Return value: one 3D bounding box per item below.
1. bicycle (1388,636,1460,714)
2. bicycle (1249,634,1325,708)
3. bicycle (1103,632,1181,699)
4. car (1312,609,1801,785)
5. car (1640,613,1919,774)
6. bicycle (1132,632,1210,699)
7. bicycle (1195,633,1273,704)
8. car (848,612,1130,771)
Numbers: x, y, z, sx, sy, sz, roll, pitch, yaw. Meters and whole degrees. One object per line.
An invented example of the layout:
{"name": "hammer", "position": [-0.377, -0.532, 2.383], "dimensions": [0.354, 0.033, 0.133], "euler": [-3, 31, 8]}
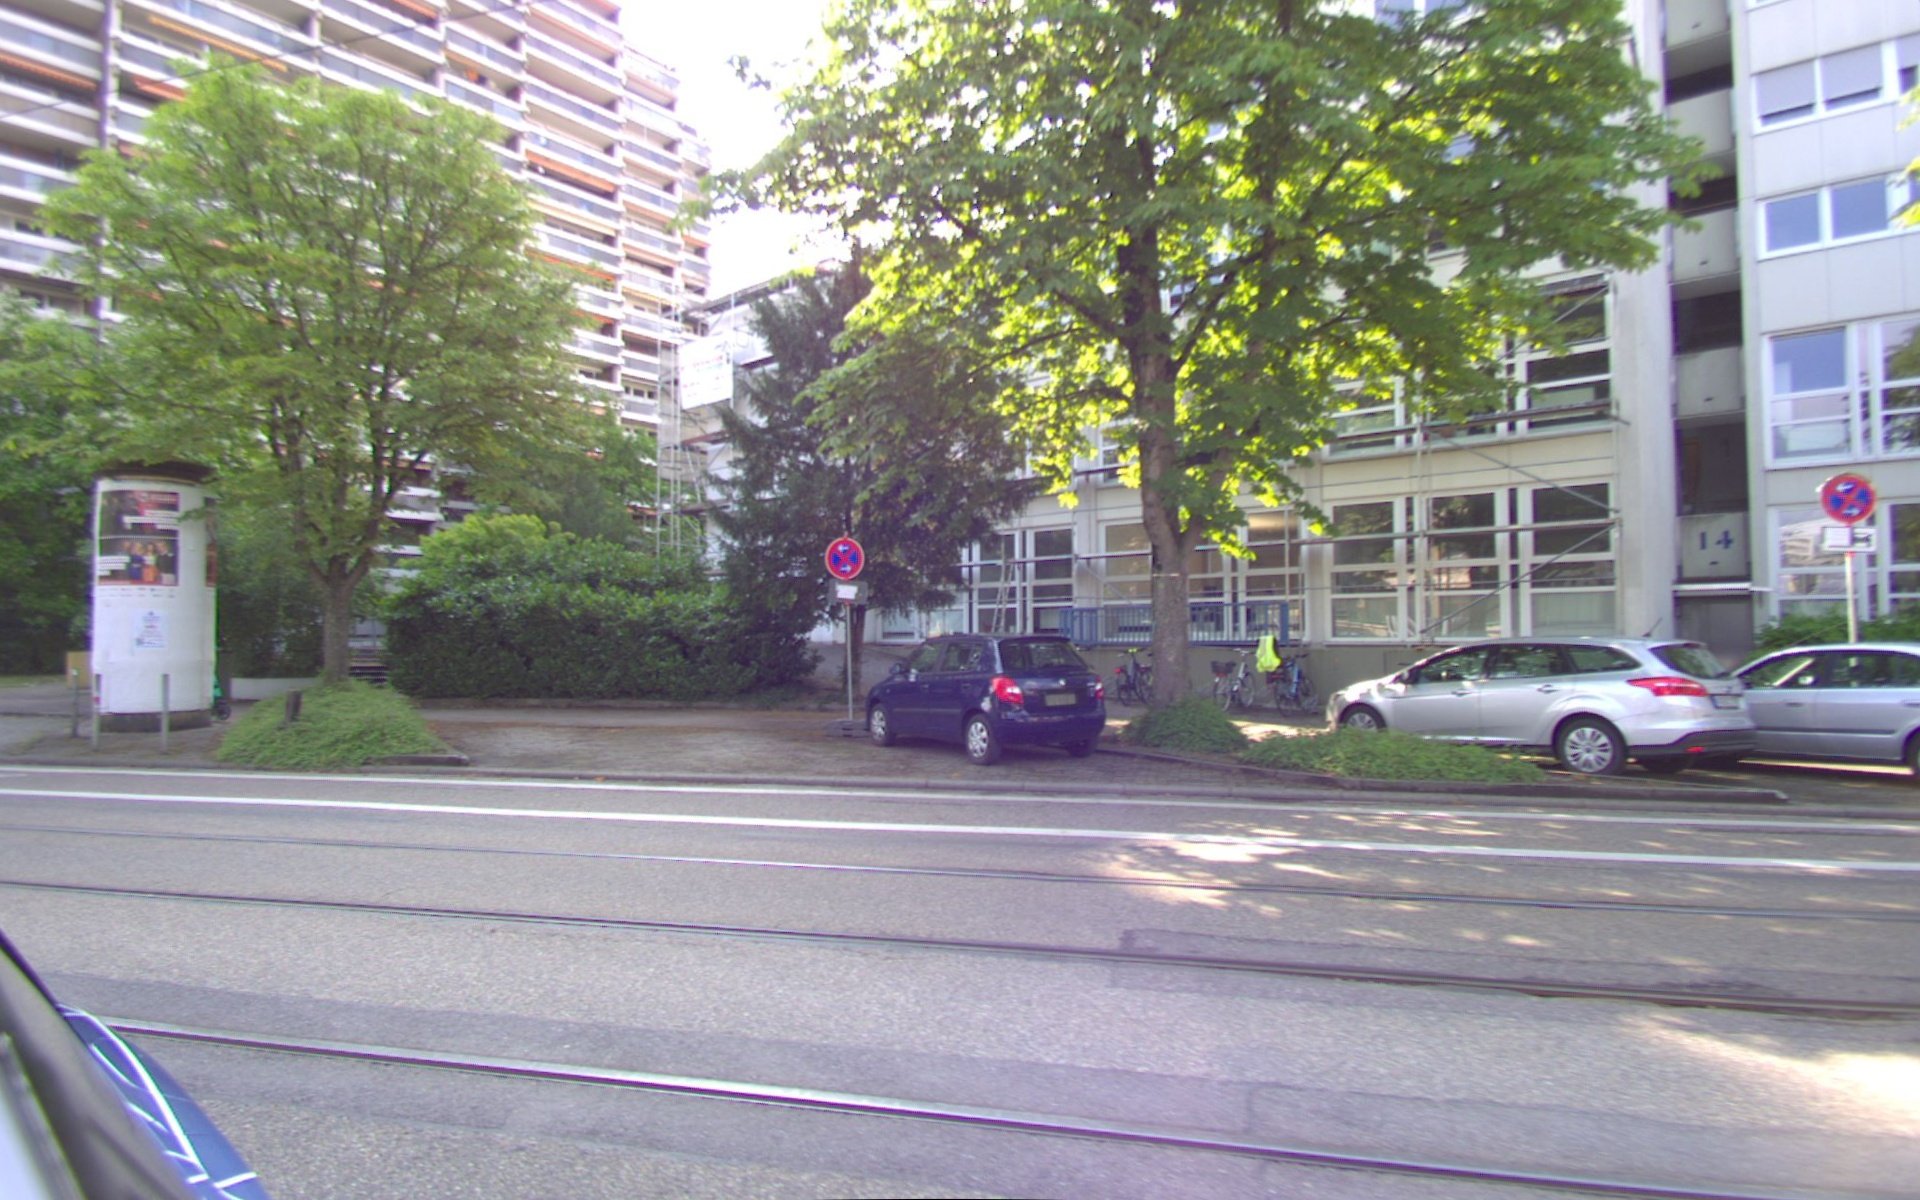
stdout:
{"name": "bicycle", "position": [7.862, 1.229, 17.104], "dimensions": [0.497, 1.095, 2.027], "euler": [0, 3, 42]}
{"name": "bicycle", "position": [5.877, 1.241, 18.126], "dimensions": [0.497, 1.095, 2.027], "euler": [0, 3, 42]}
{"name": "bicycle", "position": [3.588, 1.255, 19.820], "dimensions": [0.497, 1.095, 2.027], "euler": [0, 3, 42]}
{"name": "car", "position": [6.428, 0.898, 11.469], "dimensions": [1.711, 1.437, 4.474], "euler": [-2, 2, -33]}
{"name": "car", "position": [9.582, 0.907, 10.495], "dimensions": [1.696, 1.487, 3.795], "euler": [-1, -1, -30]}
{"name": "bicycle", "position": [4.122, 1.243, 19.689], "dimensions": [0.497, 1.095, 2.027], "euler": [0, 3, 42]}
{"name": "bicycle", "position": [5.114, 1.243, 18.802], "dimensions": [0.497, 1.095, 2.027], "euler": [0, 3, 42]}
{"name": "car", "position": [0.187, 0.990, 12.809], "dimensions": [1.730, 1.473, 4.013], "euler": [-3, 2, -29]}
